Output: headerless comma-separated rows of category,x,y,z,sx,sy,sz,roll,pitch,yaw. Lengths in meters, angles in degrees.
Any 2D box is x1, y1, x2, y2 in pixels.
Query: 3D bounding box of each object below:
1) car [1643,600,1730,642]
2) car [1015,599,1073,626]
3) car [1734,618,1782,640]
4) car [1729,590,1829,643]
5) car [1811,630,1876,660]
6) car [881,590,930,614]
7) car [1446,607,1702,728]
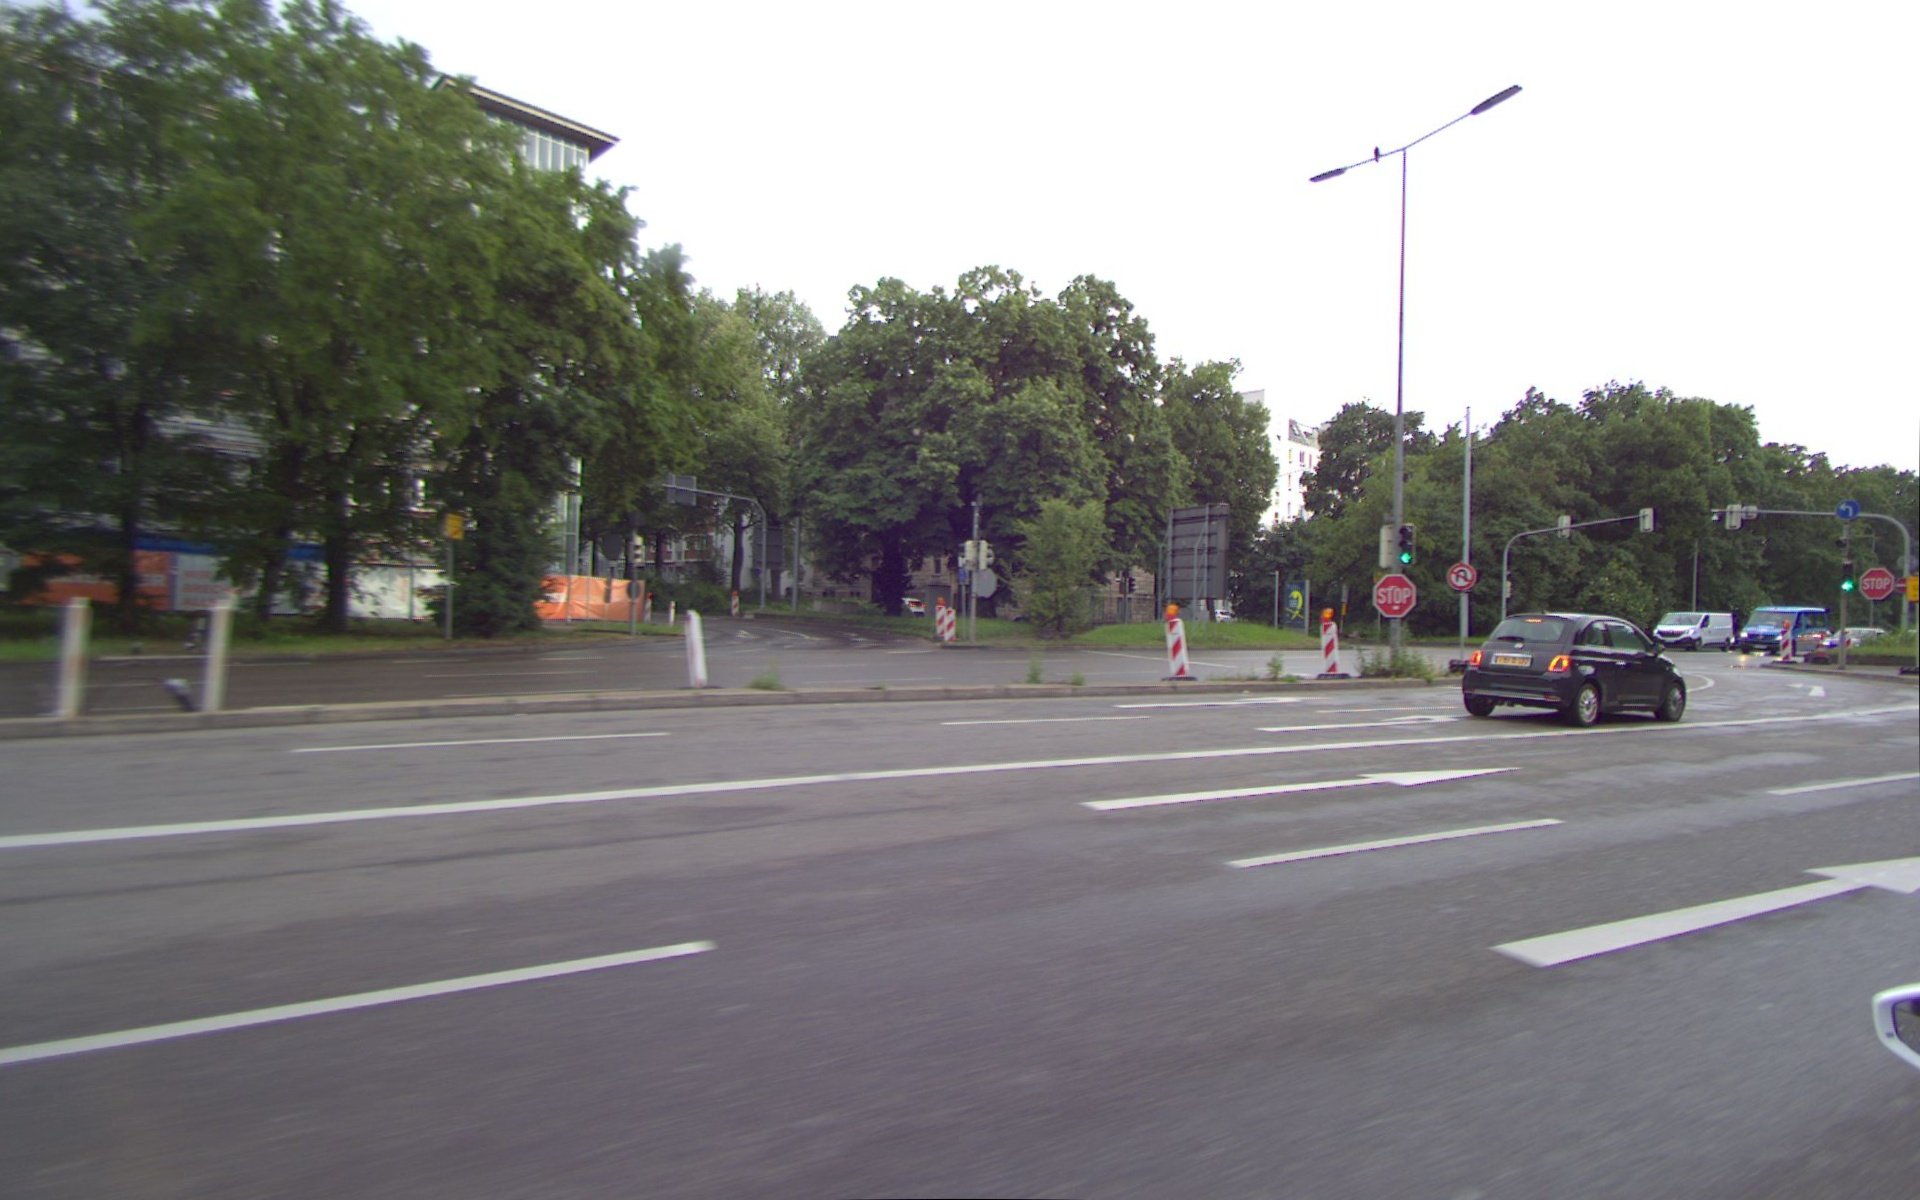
car,36.984,1.030,51.086,4.939,2.001,2.021,0,1,-35
car,5.497,0.819,65.990,1.865,1.680,3.458,1,0,-44
car,43.635,1.574,54.904,2.764,1.100,1.262,0,1,-34
car,40.219,0.748,49.270,6.179,2.423,2.181,0,1,-35
car,40.257,2.012,45.742,4.608,1.216,1.536,1,0,-40
car,-4.175,0.129,76.860,1.755,1.640,3.699,0,2,-42
car,8.679,0.855,14.166,3.461,1.460,1.579,0,1,-29
